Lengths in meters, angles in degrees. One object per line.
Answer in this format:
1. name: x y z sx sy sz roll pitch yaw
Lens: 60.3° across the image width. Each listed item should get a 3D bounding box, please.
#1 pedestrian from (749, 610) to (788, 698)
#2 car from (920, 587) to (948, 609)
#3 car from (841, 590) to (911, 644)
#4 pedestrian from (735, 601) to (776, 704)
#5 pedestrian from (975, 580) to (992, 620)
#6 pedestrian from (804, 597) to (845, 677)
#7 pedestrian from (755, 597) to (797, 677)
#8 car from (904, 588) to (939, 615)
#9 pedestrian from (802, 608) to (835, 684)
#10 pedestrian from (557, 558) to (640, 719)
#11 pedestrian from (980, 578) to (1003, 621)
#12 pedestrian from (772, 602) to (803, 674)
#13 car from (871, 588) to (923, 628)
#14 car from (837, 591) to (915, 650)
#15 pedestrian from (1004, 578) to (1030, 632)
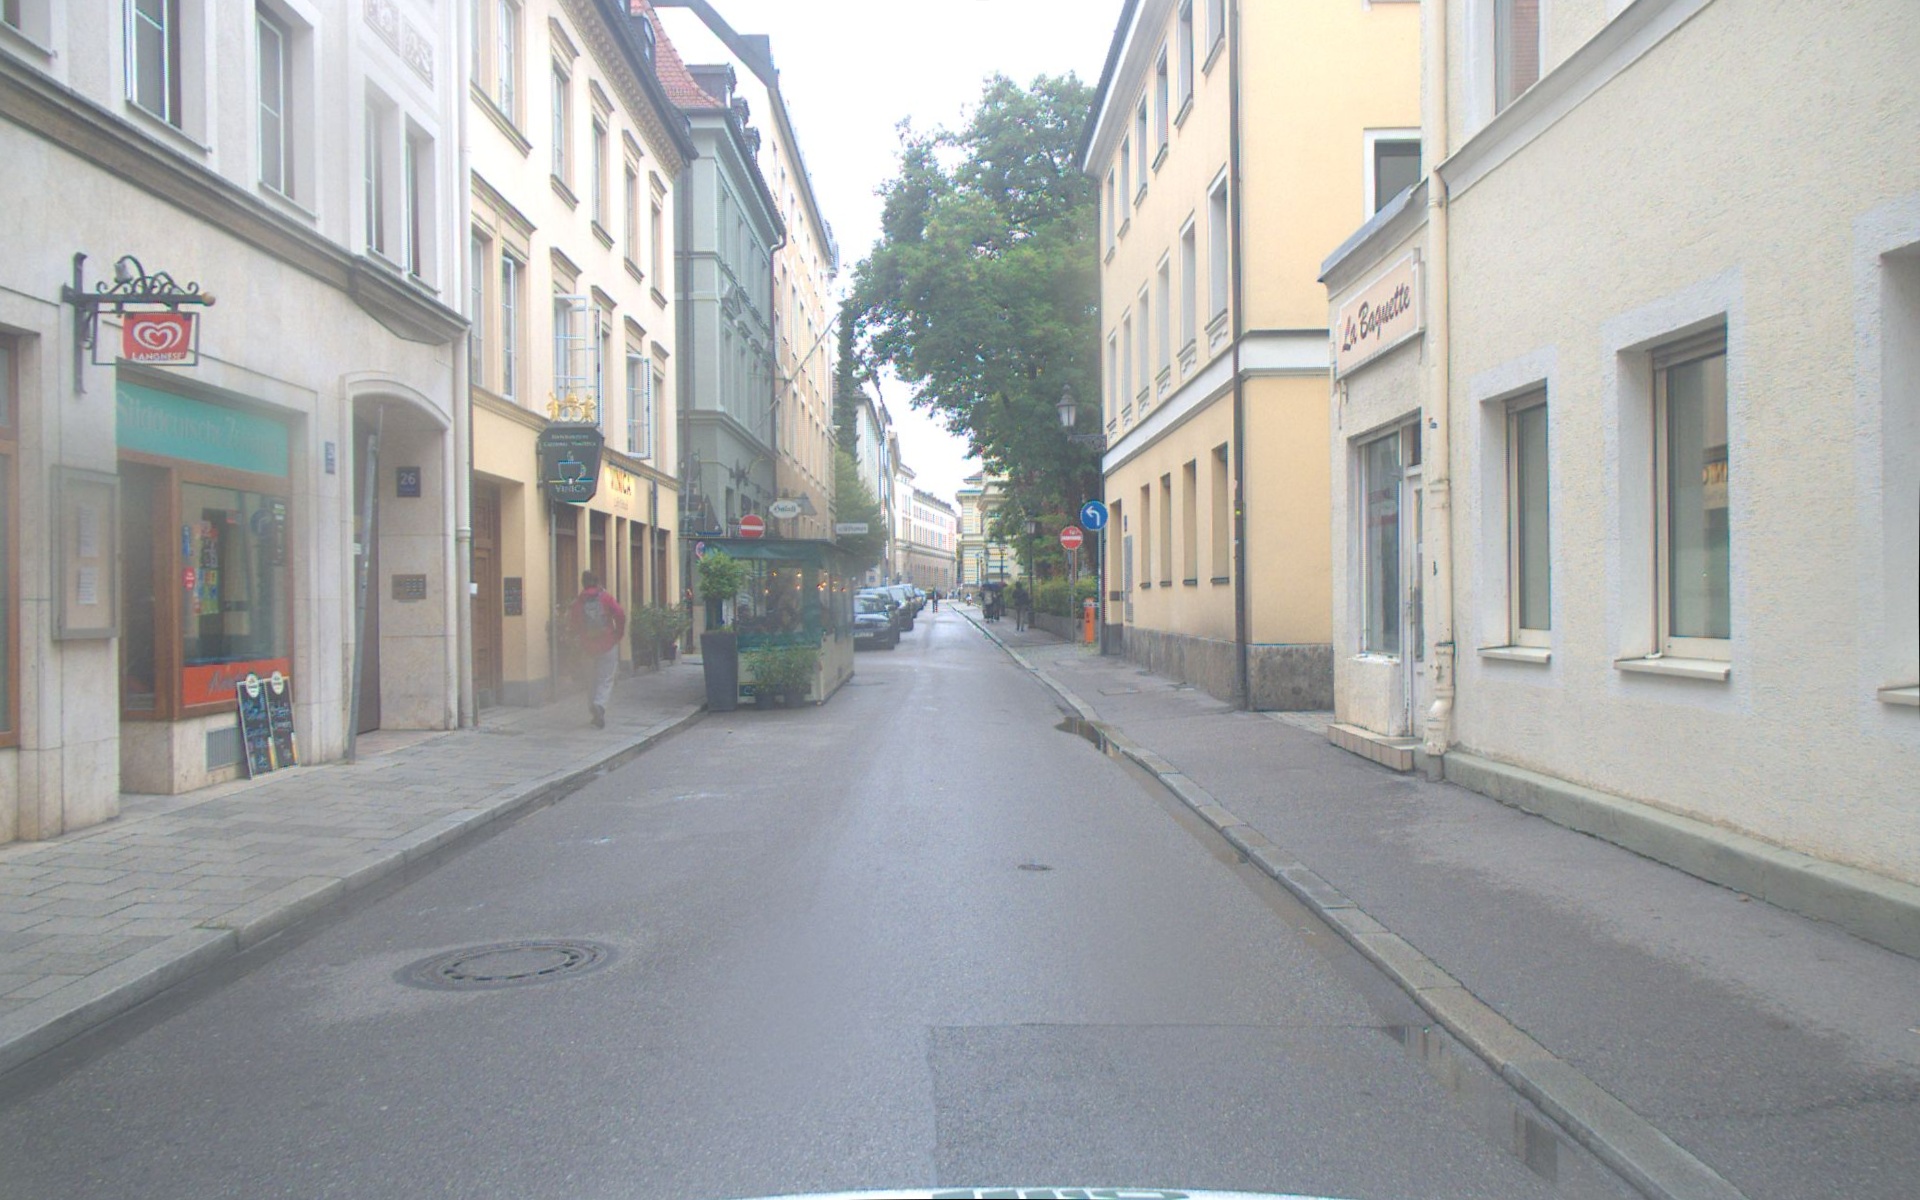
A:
1. pedestrian: -2.678 0.744 23.195 0.499 1.208 0.630 0 0 -3
2. car: -1.812 -0.136 115.974 1.742 1.492 3.543 0 0 2
3. car: -2.417 0.471 48.385 1.742 1.492 3.543 0 0 2
4. pedestrian: -2.738 0.696 22.192 0.499 1.350 0.630 0 0 -3
5. pedestrian: 1.072 -0.024 76.377 0.777 1.833 0.903 0 0 0
6. pedestrian: -2.321 0.634 28.357 0.660 1.350 0.696 0 0 -3
7. pedestrian: -3.170 0.628 28.547 0.660 1.350 0.696 0 0 -3
8. car: -2.156 0.075 93.074 1.742 1.492 3.543 0 0 2
9. pedestrian: -2.274 0.738 26.669 0.499 1.196 0.630 0 0 -3
10. pedestrian: -4.033 0.418 18.493 0.750 1.738 0.785 -1 0 -3
11. pedestrian: 1.355 -0.011 71.328 0.995 1.833 1.349 0 0 0
12. pedestrian: -3.071 0.668 29.500 0.499 1.259 0.630 0 0 -3
13. car: -2.381 0.298 63.342 1.742 1.492 3.543 0 0 2
14. car: -2.181 0.516 43.862 1.742 1.492 3.664 0 0 2
15. pedestrian: 1.985 0.171 57.305 0.862 1.833 1.046 0 0 0
